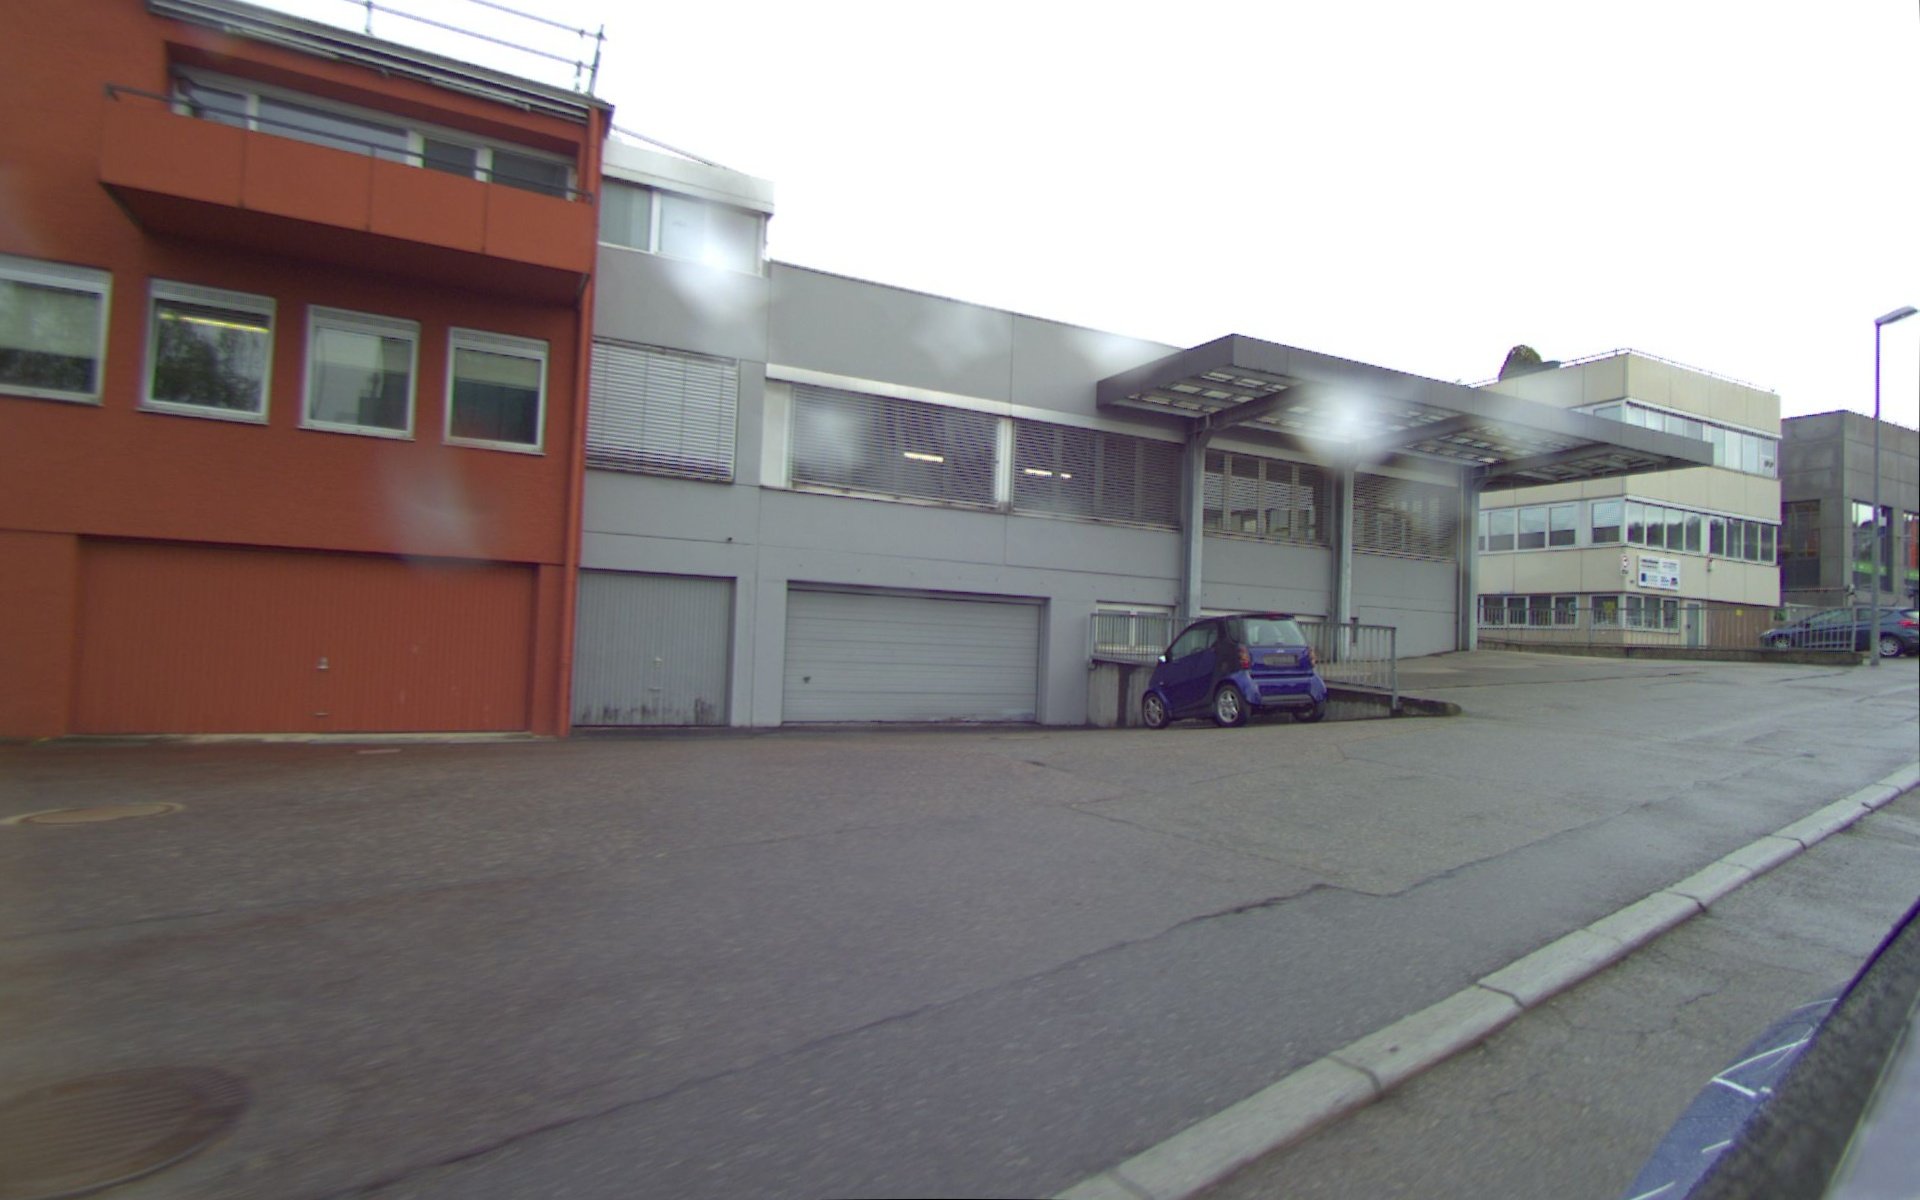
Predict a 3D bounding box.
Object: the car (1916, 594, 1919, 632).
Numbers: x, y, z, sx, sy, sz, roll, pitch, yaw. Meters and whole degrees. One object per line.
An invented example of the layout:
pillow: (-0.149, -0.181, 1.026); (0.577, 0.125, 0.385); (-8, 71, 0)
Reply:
car: (39.569, 0.528, 38.264); (1.901, 1.516, 4.632); (0, 0, -28)

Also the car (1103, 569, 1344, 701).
car: (3.725, 0.594, 14.928); (1.584, 1.520, 3.448); (0, -8, -22)

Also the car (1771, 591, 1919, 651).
car: (25.950, 0.565, 29.097); (1.598, 1.559, 3.756); (1, 1, -29)
